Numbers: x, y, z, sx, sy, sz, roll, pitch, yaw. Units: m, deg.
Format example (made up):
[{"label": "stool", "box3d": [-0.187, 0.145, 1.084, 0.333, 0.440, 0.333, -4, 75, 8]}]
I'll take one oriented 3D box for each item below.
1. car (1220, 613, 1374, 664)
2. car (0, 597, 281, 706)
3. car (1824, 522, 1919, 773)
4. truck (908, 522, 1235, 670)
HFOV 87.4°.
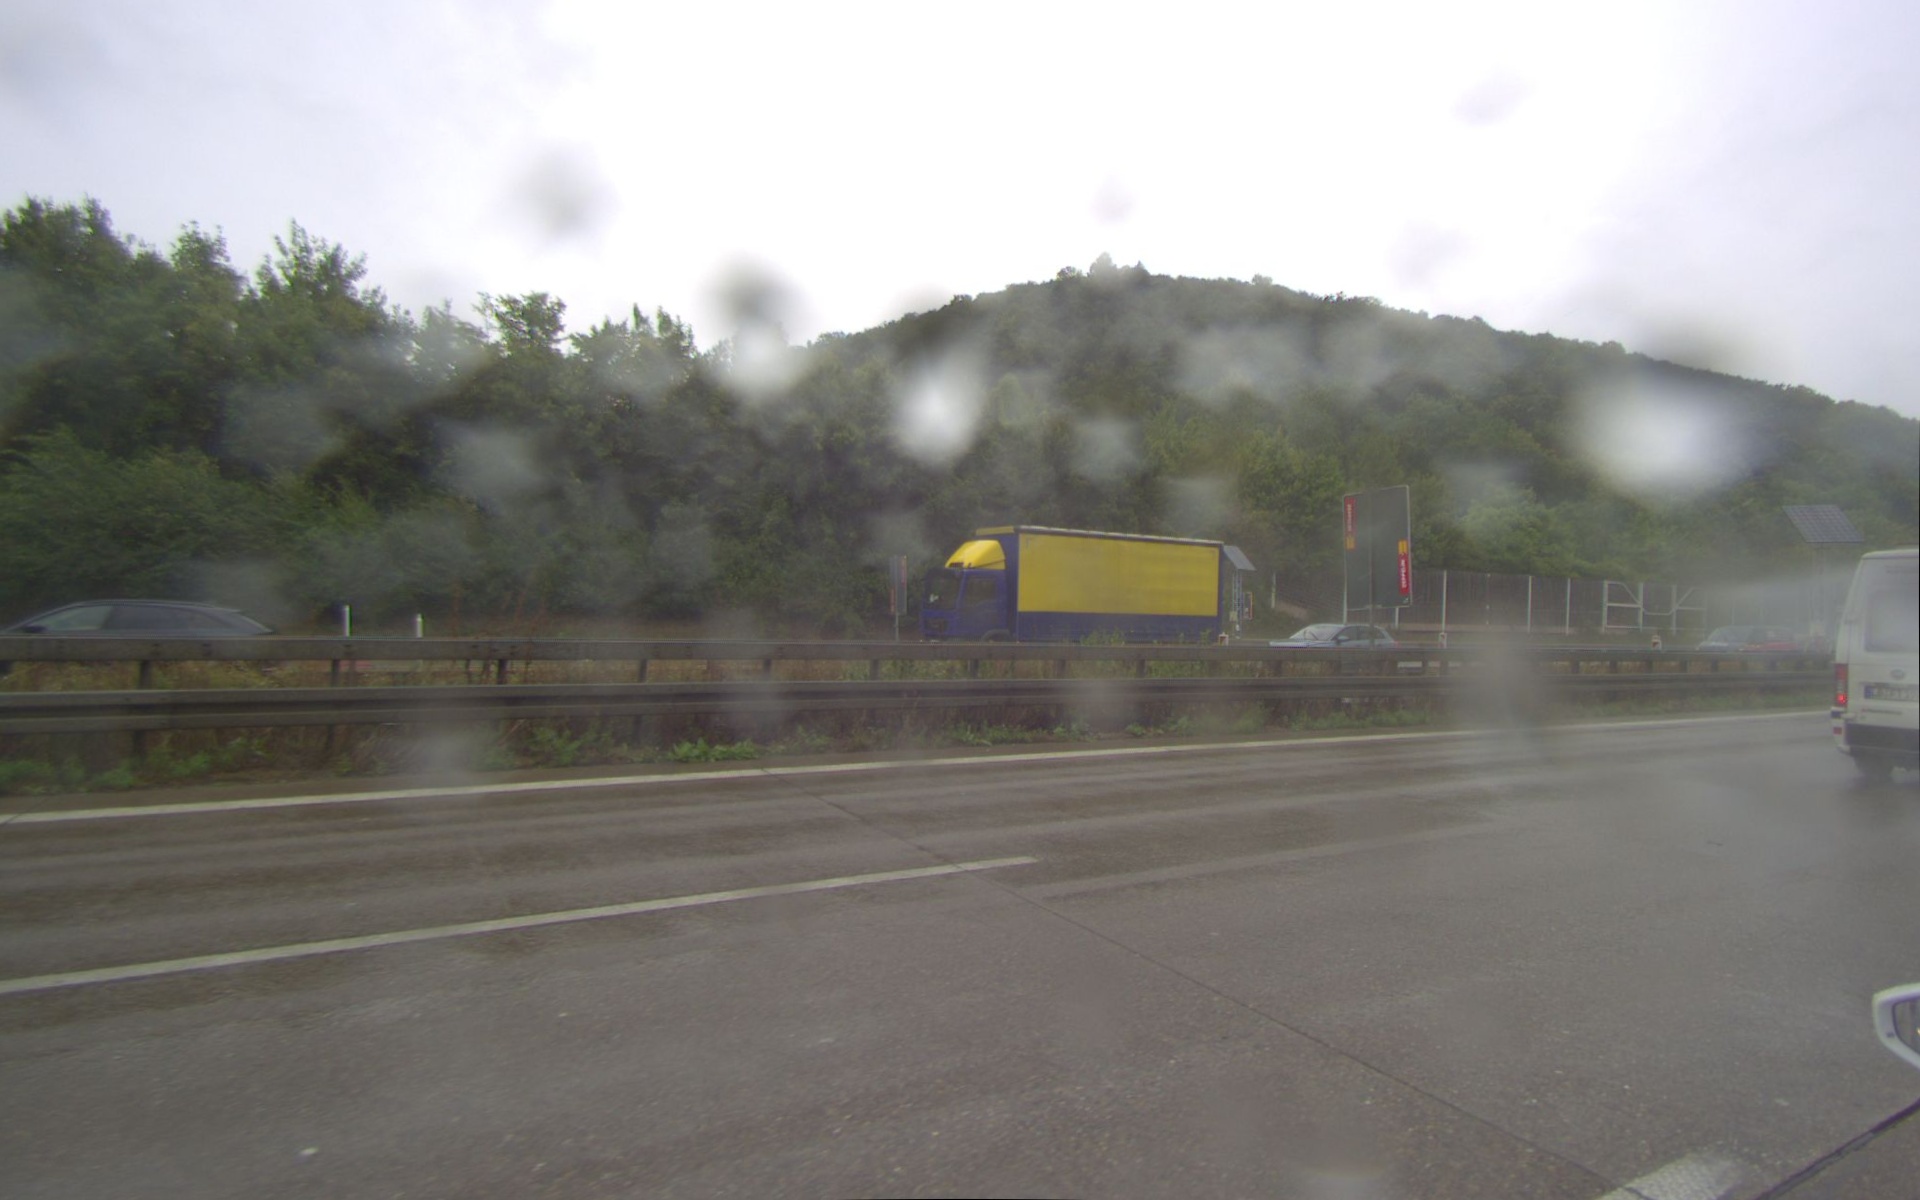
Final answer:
[{"label": "car", "box3d": [9.780, 1.105, 29.066, 4.372, 1.357, 1.744, 1, 0, -30]}, {"label": "car", "box3d": [-13.293, 0.765, 15.566, 4.422, 1.504, 1.906, 2, 0, -31]}, {"label": "car", "box3d": [12.006, 0.527, 11.111, 5.724, 2.464, 1.987, 1, 0, -31]}, {"label": "truck", "box3d": [3.428, -0.018, 28.988, 9.683, 3.750, 2.573, 1, 0, -30]}]
